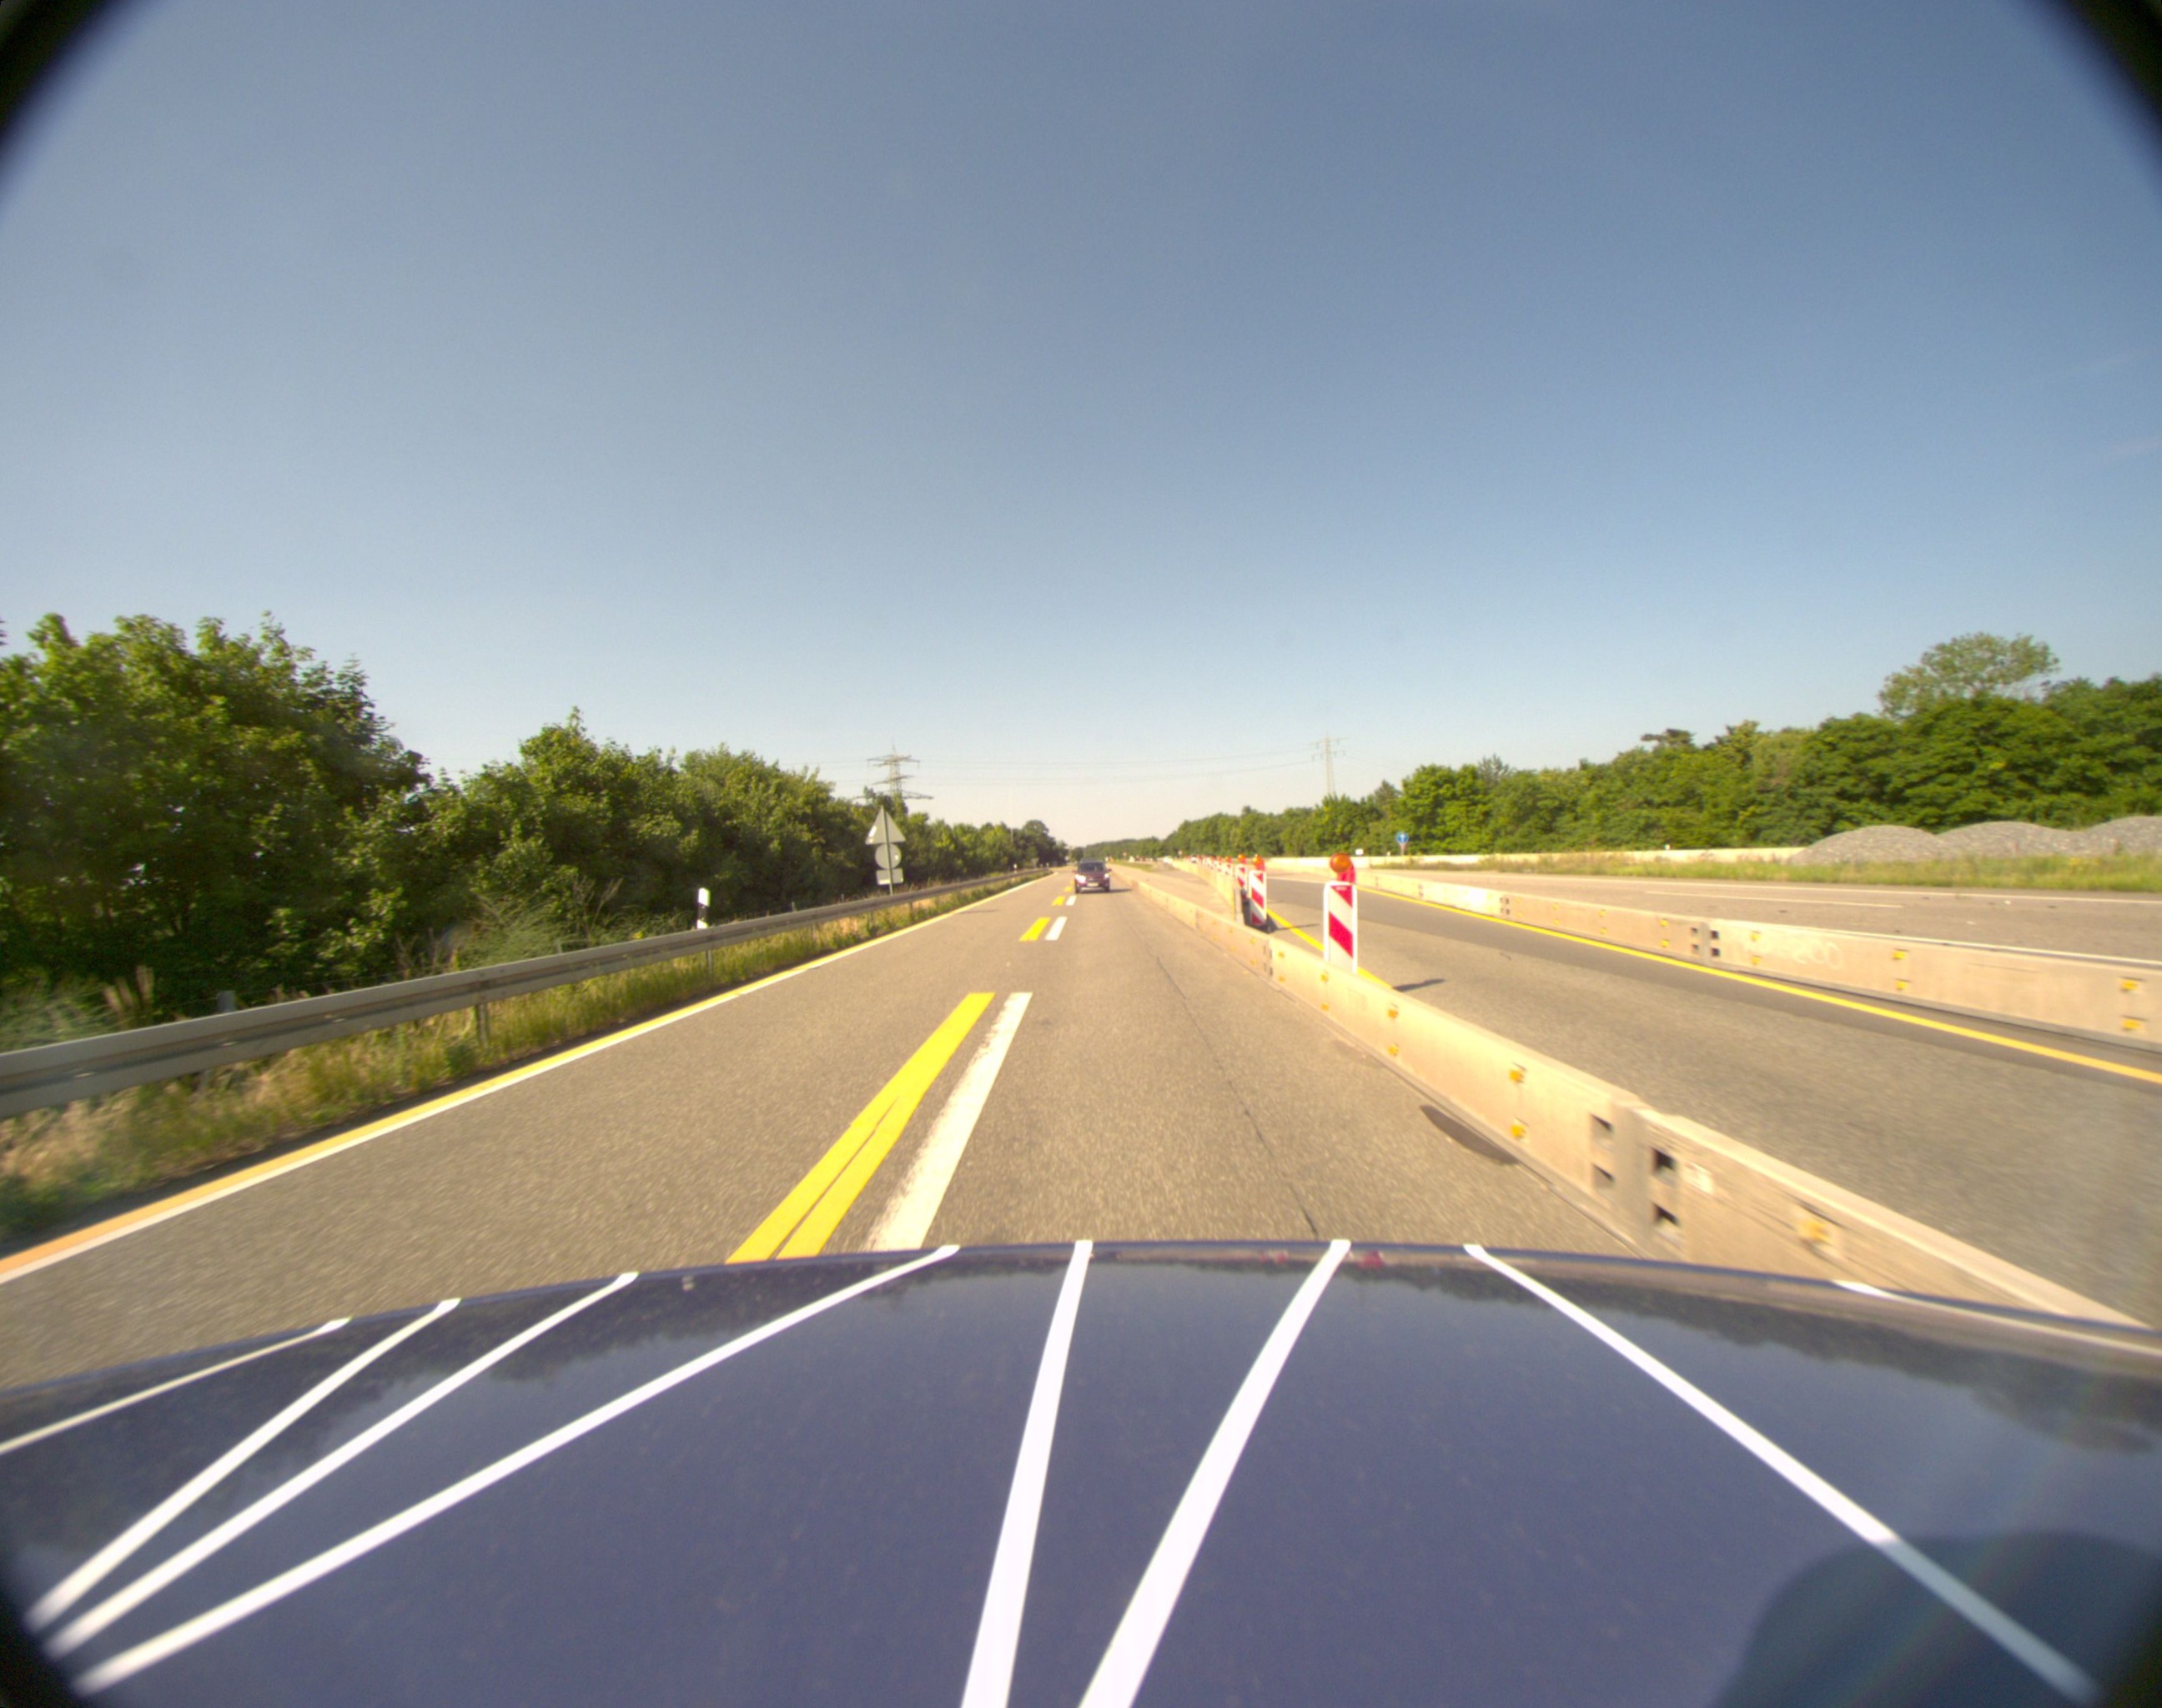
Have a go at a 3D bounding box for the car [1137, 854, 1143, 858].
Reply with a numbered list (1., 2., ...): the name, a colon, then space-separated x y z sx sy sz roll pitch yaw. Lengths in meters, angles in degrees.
1. car: 20.504 0.685 262.661 1.820 1.479 5.024 -2 0 2

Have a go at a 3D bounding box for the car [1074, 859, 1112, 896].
1. car: 0.589 1.013 34.078 1.587 1.491 4.417 -1 -1 2

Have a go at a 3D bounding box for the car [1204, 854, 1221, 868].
1. car: 15.307 0.834 88.519 1.714 1.506 4.180 -2 0 6

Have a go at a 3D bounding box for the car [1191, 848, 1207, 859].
1. car: 17.030 -0.042 110.072 1.998 1.506 4.582 -2 0 6

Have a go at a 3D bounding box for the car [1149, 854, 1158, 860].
1. car: 17.864 0.656 188.083 1.844 1.432 4.813 -1 0 2

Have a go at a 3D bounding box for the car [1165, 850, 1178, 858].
1. car: 18.585 0.072 156.126 1.822 1.598 4.438 -3 0 -3
